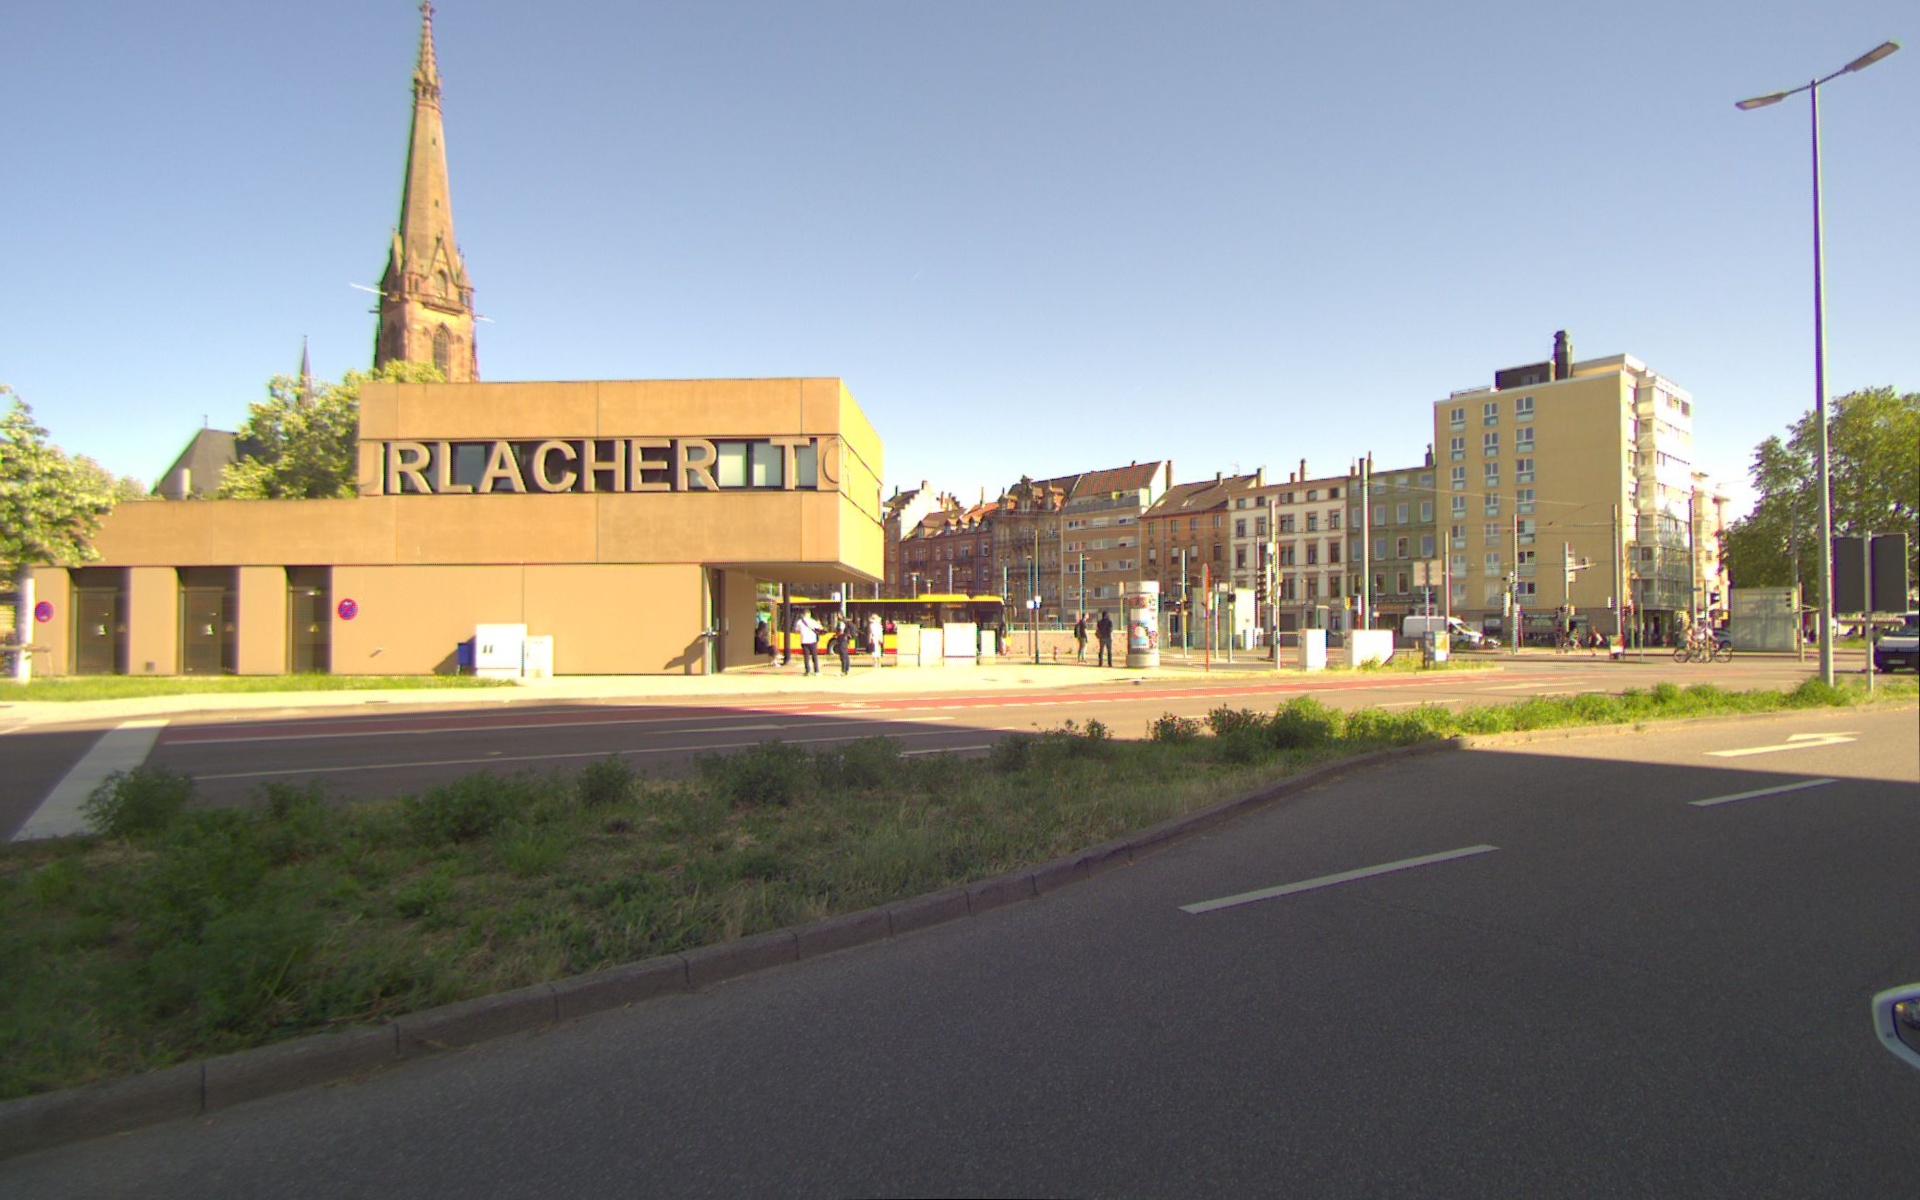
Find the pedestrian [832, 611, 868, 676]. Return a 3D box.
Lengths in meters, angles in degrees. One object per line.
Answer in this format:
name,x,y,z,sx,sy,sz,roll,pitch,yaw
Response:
pedestrian,-3.009,1.194,27.478,0.738,1.745,0.639,3,-2,-24

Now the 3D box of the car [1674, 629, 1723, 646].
car,63.392,3.203,86.228,1.515,1.334,3.230,-2,0,-44

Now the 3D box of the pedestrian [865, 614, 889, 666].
pedestrian,-2.874,1.379,34.807,0.634,1.745,0.791,2,-2,4

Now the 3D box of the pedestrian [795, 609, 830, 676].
pedestrian,-3.947,1.141,26.970,0.584,1.745,0.791,2,-2,15

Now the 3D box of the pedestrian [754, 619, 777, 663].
pedestrian,-6.878,1.441,35.501,0.503,1.529,0.743,3,-2,-30

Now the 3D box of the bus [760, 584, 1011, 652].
bus,-3.594,0.938,50.669,12.336,3.258,2.975,0,-1,3

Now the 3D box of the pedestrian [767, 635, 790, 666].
pedestrian,-5.940,1.640,32.843,0.563,0.979,0.509,2,-2,9

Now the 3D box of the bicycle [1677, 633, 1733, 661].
bicycle,33.451,2.095,45.129,0.634,1.180,1.944,1,-1,-26

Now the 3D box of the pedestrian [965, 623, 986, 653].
pedestrian,0.721,1.767,46.859,0.635,1.412,0.790,1,-2,-42

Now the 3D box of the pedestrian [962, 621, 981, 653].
pedestrian,0.554,1.777,48.245,0.628,1.555,0.799,0,-1,29

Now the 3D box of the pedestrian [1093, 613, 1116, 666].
pedestrian,4.887,1.323,33.975,0.634,1.765,0.790,2,0,15

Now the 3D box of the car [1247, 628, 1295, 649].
car,29.723,3.657,96.003,1.983,1.795,3.954,-2,0,-40

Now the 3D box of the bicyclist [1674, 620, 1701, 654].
bicyclist,32.440,1.650,44.809,0.635,1.463,0.772,1,-1,-26

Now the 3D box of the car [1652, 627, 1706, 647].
car,59.646,3.053,83.317,1.681,1.530,3.399,2,-2,-44

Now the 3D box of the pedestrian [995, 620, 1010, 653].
pedestrian,2.020,1.746,47.703,0.627,1.555,0.964,0,-1,8

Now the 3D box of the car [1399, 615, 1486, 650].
car,35.193,2.373,73.365,1.985,2.443,5.438,1,-2,-41

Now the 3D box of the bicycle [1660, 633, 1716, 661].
bicycle,32.445,2.096,44.803,0.634,1.180,1.944,1,-1,-26

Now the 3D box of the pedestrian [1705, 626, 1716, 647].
pedestrian,59.322,2.850,79.442,0.600,1.632,0.795,-1,1,42

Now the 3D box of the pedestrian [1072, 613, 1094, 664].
pedestrian,4.376,1.372,35.684,0.634,1.745,0.791,2,-2,15

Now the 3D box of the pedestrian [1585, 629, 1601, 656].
pedestrian,34.504,2.305,54.761,0.564,1.427,0.588,-2,1,-41

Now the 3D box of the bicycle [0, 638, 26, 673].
bicycle,-29.370,1.661,30.320,1.753,1.051,0.568,1,-2,0

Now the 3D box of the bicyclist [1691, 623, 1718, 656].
bicyclist,33.458,1.785,45.141,0.635,1.463,0.771,1,-1,-27

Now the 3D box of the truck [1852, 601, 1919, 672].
truck,34.965,1.267,34.939,6.760,2.344,2.218,1,-1,-10
